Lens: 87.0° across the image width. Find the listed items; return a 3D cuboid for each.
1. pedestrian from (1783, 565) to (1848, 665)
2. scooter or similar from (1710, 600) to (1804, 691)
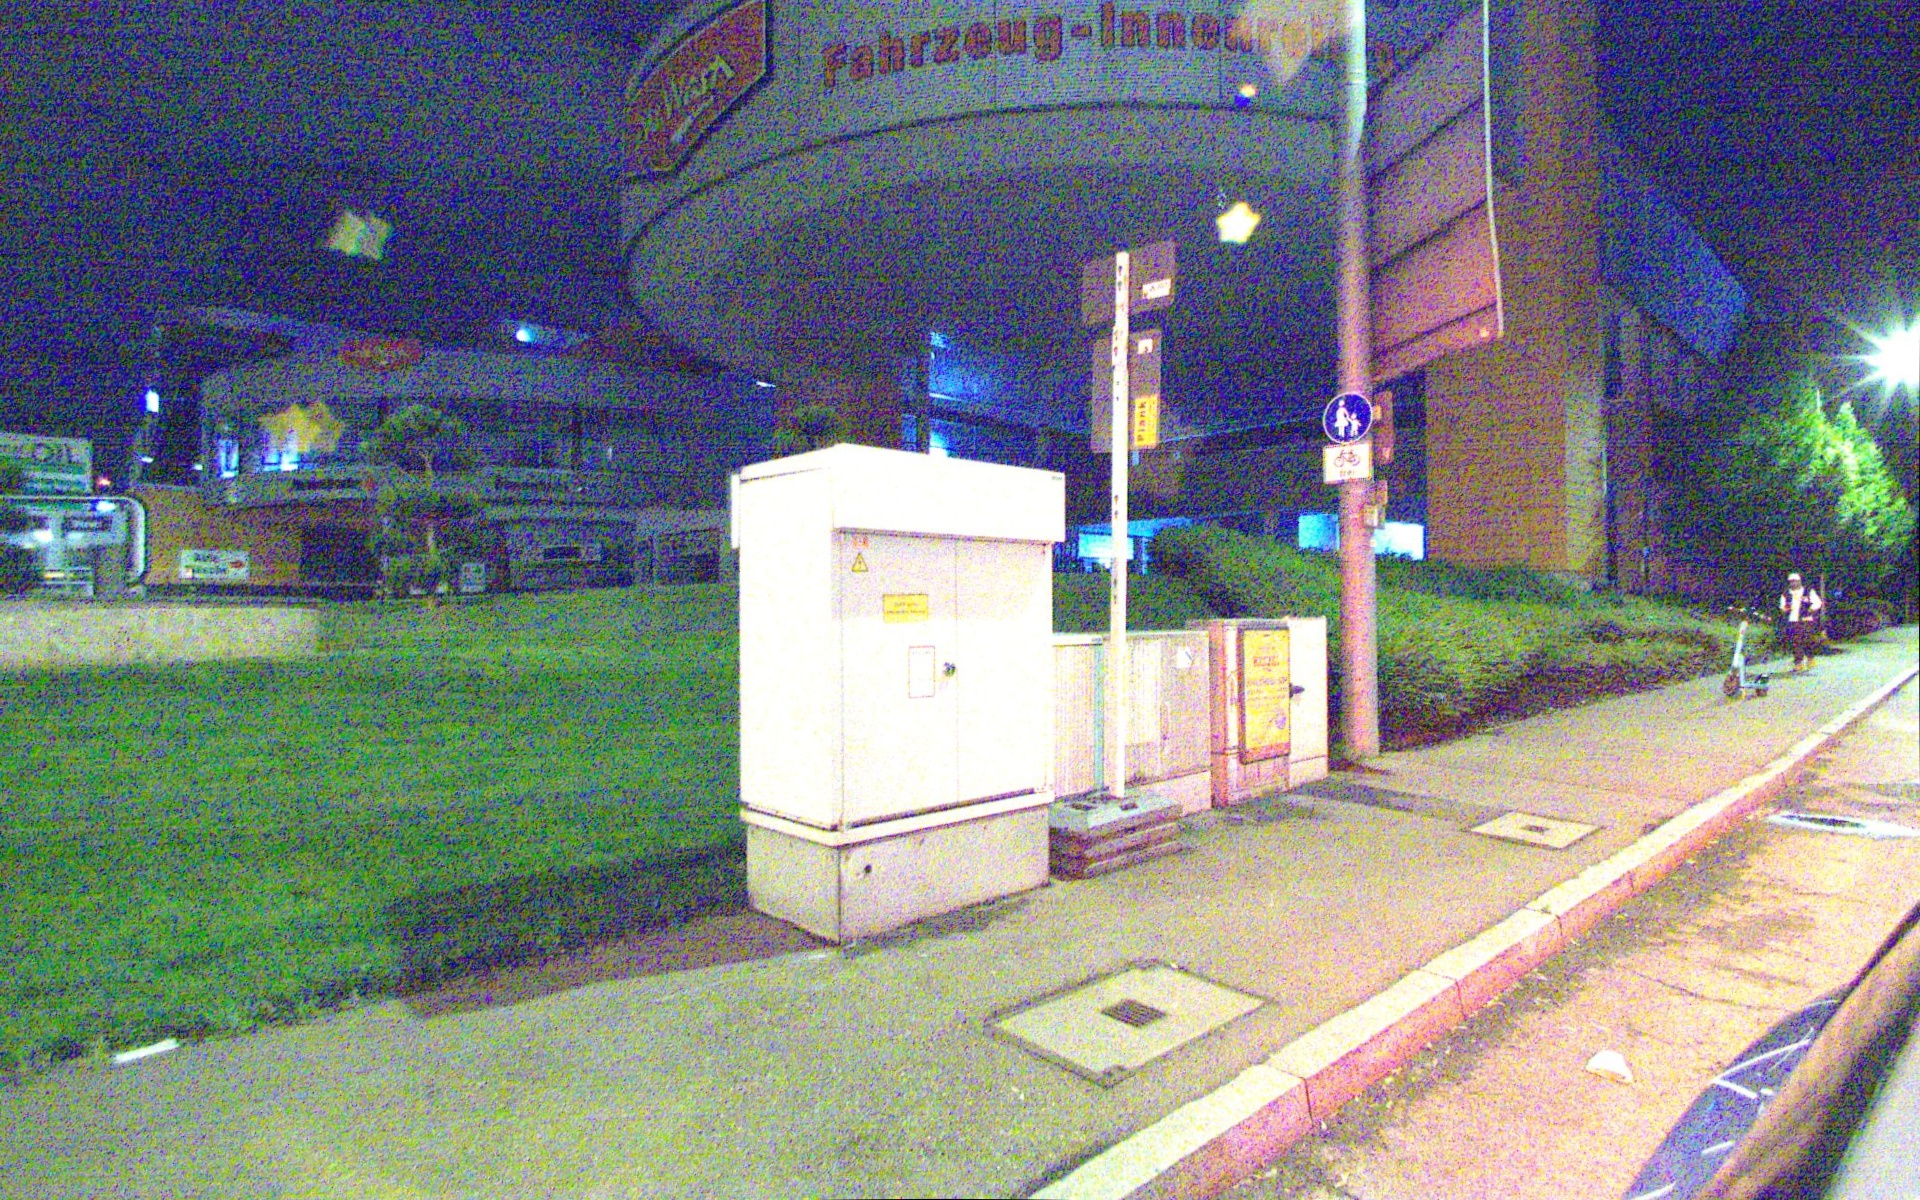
[{"bbox_3d":[16.686,0.278,19.741,1.016,1.888,0.819,0,0,-41],"label":"pedestrian"},{"bbox_3d":[10.976,0.616,13.938,1.111,1.217,0.470,1,-1,-17],"label":"scooter or similar"}]
